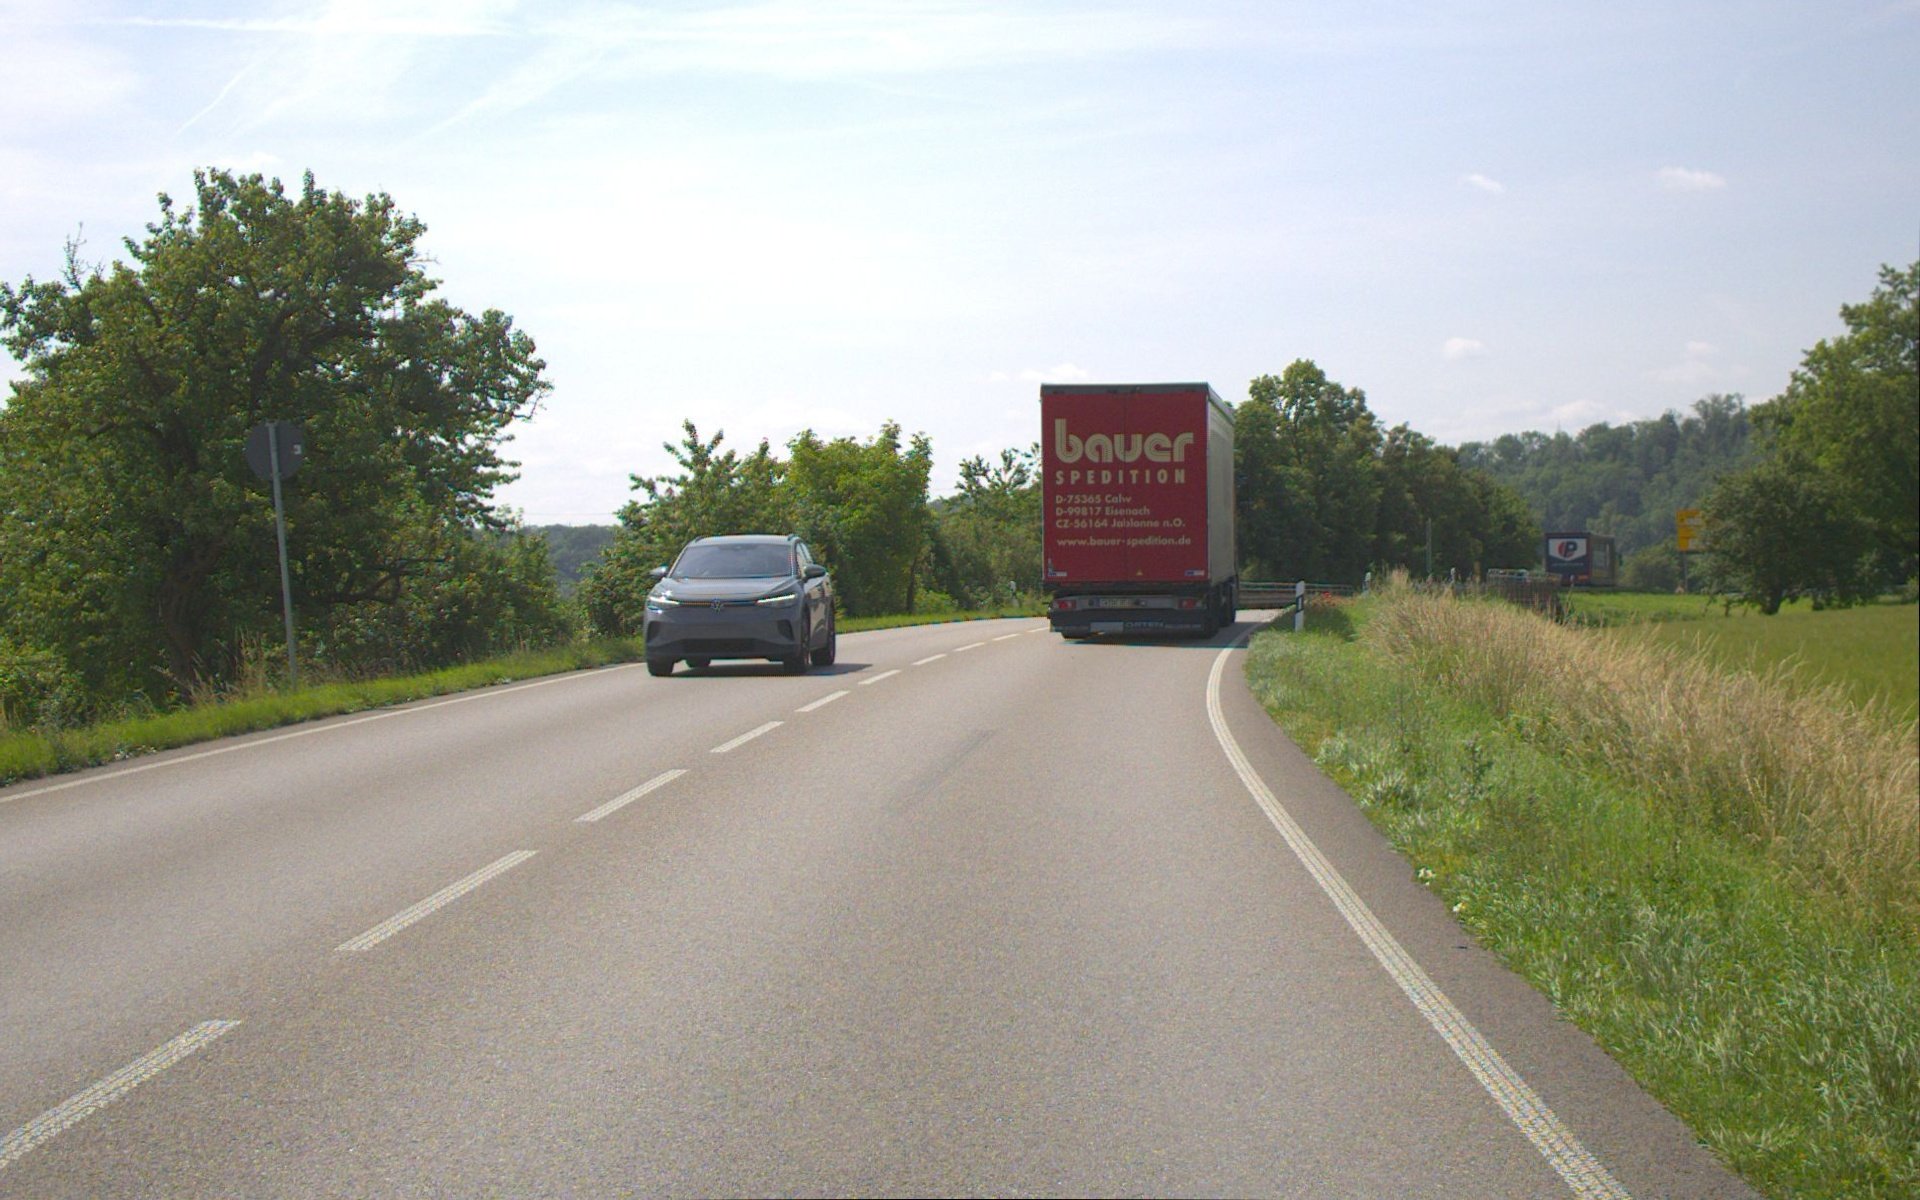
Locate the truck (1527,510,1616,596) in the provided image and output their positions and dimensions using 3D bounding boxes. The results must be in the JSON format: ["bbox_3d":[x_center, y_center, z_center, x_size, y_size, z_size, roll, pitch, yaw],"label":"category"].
[{"bbox_3d":[35.908,-2.637,201.340,3.906,4.674,16.365,-2,-1,14],"label":"truck"}]

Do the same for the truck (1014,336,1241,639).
[{"bbox_3d":[3.007,-1.678,57.592,3.113,4.490,12.164,1,0,6],"label":"truck"}]

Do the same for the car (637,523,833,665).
[{"bbox_3d":[-2.639,-0.101,41.280,1.879,1.587,4.491,-1,1,2],"label":"car"}]
